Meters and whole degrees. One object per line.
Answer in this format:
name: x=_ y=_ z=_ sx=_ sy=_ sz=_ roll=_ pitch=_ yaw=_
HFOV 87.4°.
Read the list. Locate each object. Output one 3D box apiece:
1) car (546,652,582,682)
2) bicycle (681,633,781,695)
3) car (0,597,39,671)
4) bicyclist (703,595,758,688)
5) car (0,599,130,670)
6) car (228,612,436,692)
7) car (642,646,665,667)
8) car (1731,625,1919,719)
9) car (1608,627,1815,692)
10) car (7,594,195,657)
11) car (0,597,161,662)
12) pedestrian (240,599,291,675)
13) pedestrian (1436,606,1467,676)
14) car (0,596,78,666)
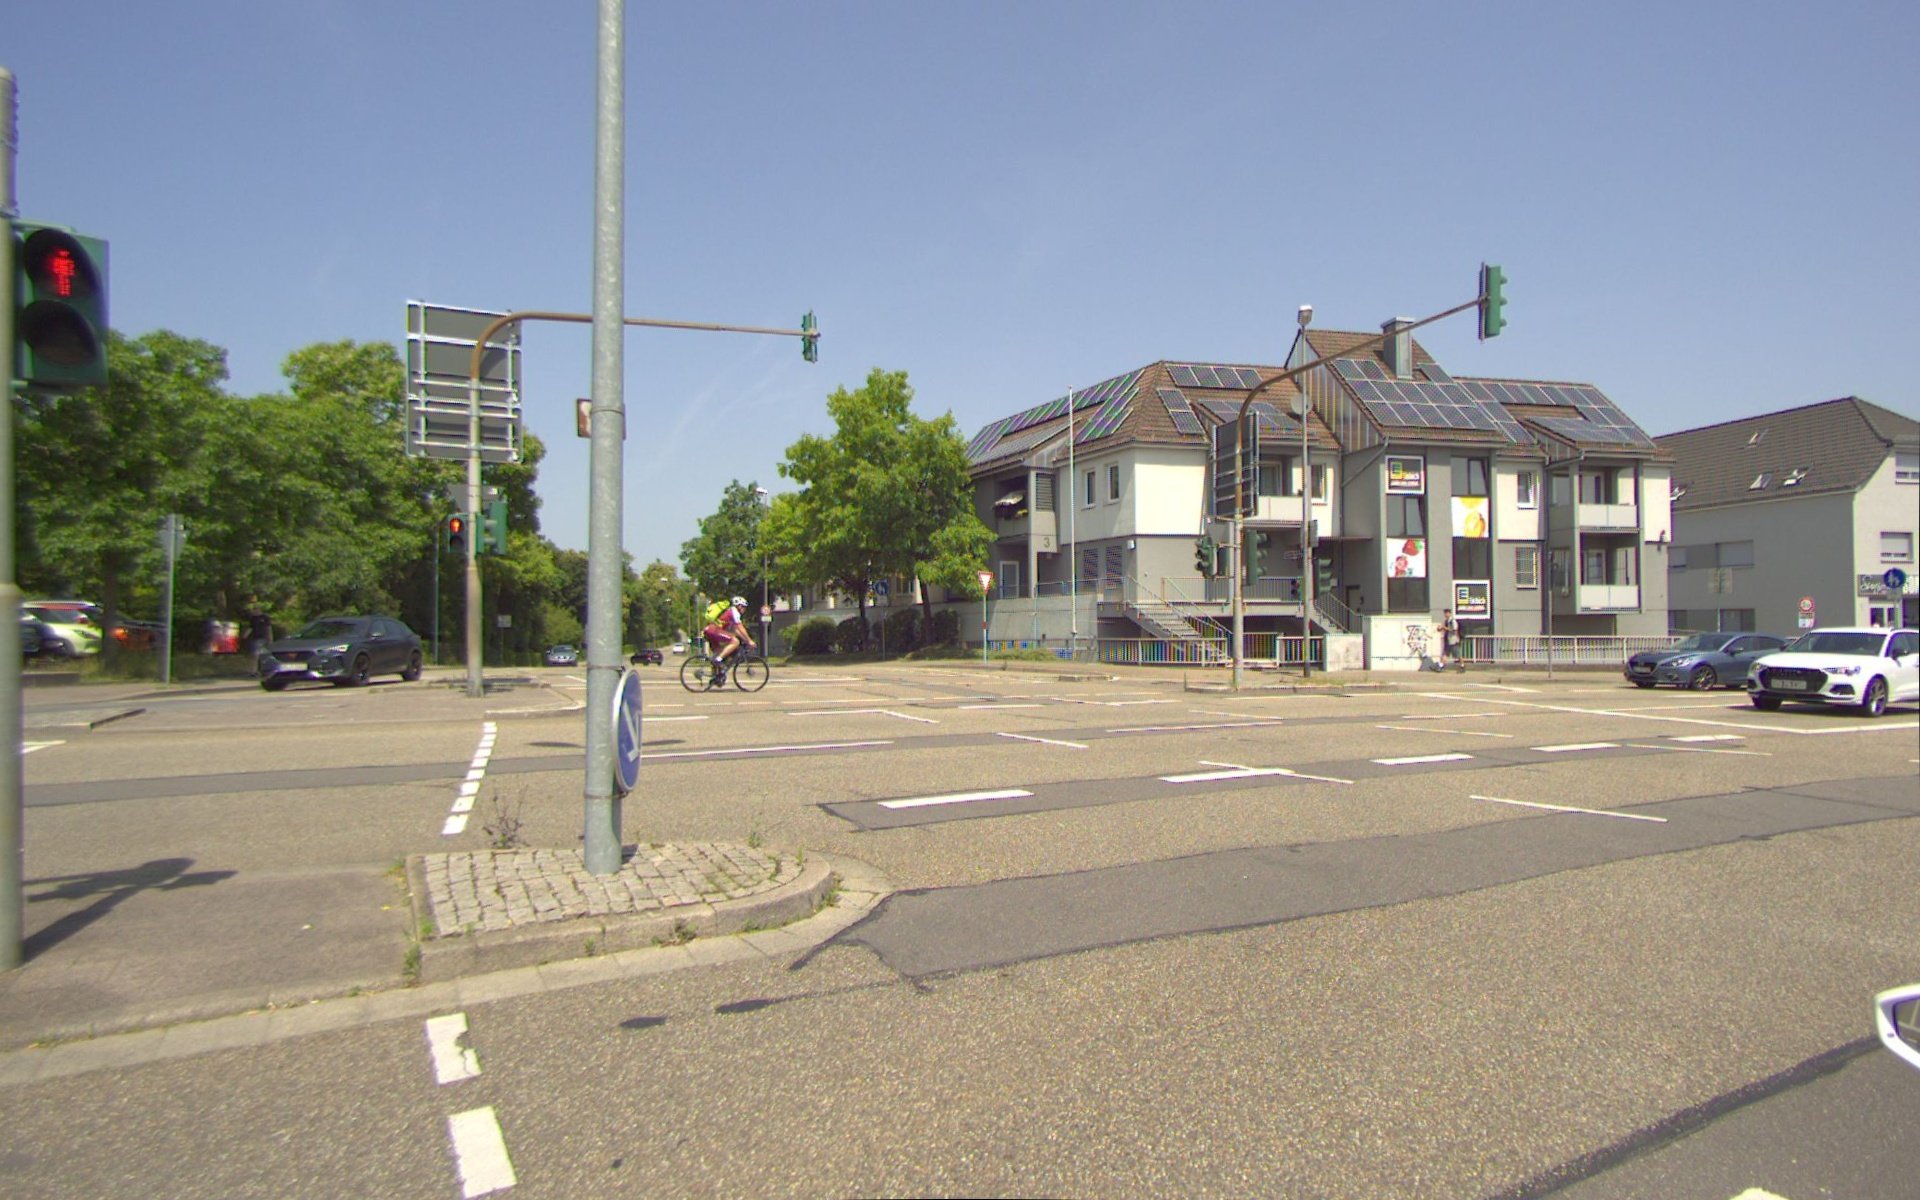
car: x=-25.372 y=4.283 z=64.486 sx=1.734 sy=1.631 sz=4.746 roll=2 pitch=-1 yaw=-17
bicycle: x=-4.222 y=1.169 z=18.585 sx=1.772 sy=1.068 sz=0.417 roll=1 pitch=0 yaw=-36
car: x=-22.337 y=0.662 z=21.191 sx=3.955 sy=1.557 sz=1.781 roll=2 pitch=-1 yaw=-31
bicyclist: x=-4.239 y=0.772 z=18.555 sx=0.813 sy=1.664 sz=0.418 roll=4 pitch=-1 yaw=-37
car: x=-23.956 y=0.871 z=25.636 sx=3.955 sy=1.730 sz=1.891 roll=2 pitch=-1 yaw=-31
car: x=-13.207 y=1.107 z=21.514 sx=1.966 sy=1.505 sz=4.439 roll=-1 pitch=-3 yaw=-5
car: x=-30.915 y=5.673 z=101.258 sx=1.970 sy=1.927 sz=3.981 roll=1 pitch=-2 yaw=-21
car: x=17.017 y=1.314 z=19.118 sx=4.493 sy=1.591 sz=1.812 roll=1 pitch=0 yaw=-24
car: x=18.587 y=1.451 z=24.924 sx=4.190 sy=1.469 sz=1.494 roll=-1 pitch=0 yaw=-5
car: x=-25.714 y=0.770 z=30.283 sx=3.955 sy=1.773 sz=1.983 roll=2 pitch=-1 yaw=-31
car: x=-24.859 y=0.817 z=27.864 sx=3.955 sy=1.706 sz=1.853 roll=2 pitch=-1 yaw=-31
pedestrian: x=-17.711 y=0.943 z=25.618 sx=0.973 sy=1.896 sz=0.807 roll=2 pitch=-1 yaw=-40
pedestrian: x=14.535 y=1.203 z=29.704 sx=0.734 sy=2.041 sz=0.500 roll=0 pitch=1 yaw=-30
car: x=-23.345 y=0.707 z=23.355 sx=3.956 sy=1.591 sz=1.826 roll=2 pitch=-3 yaw=-32
